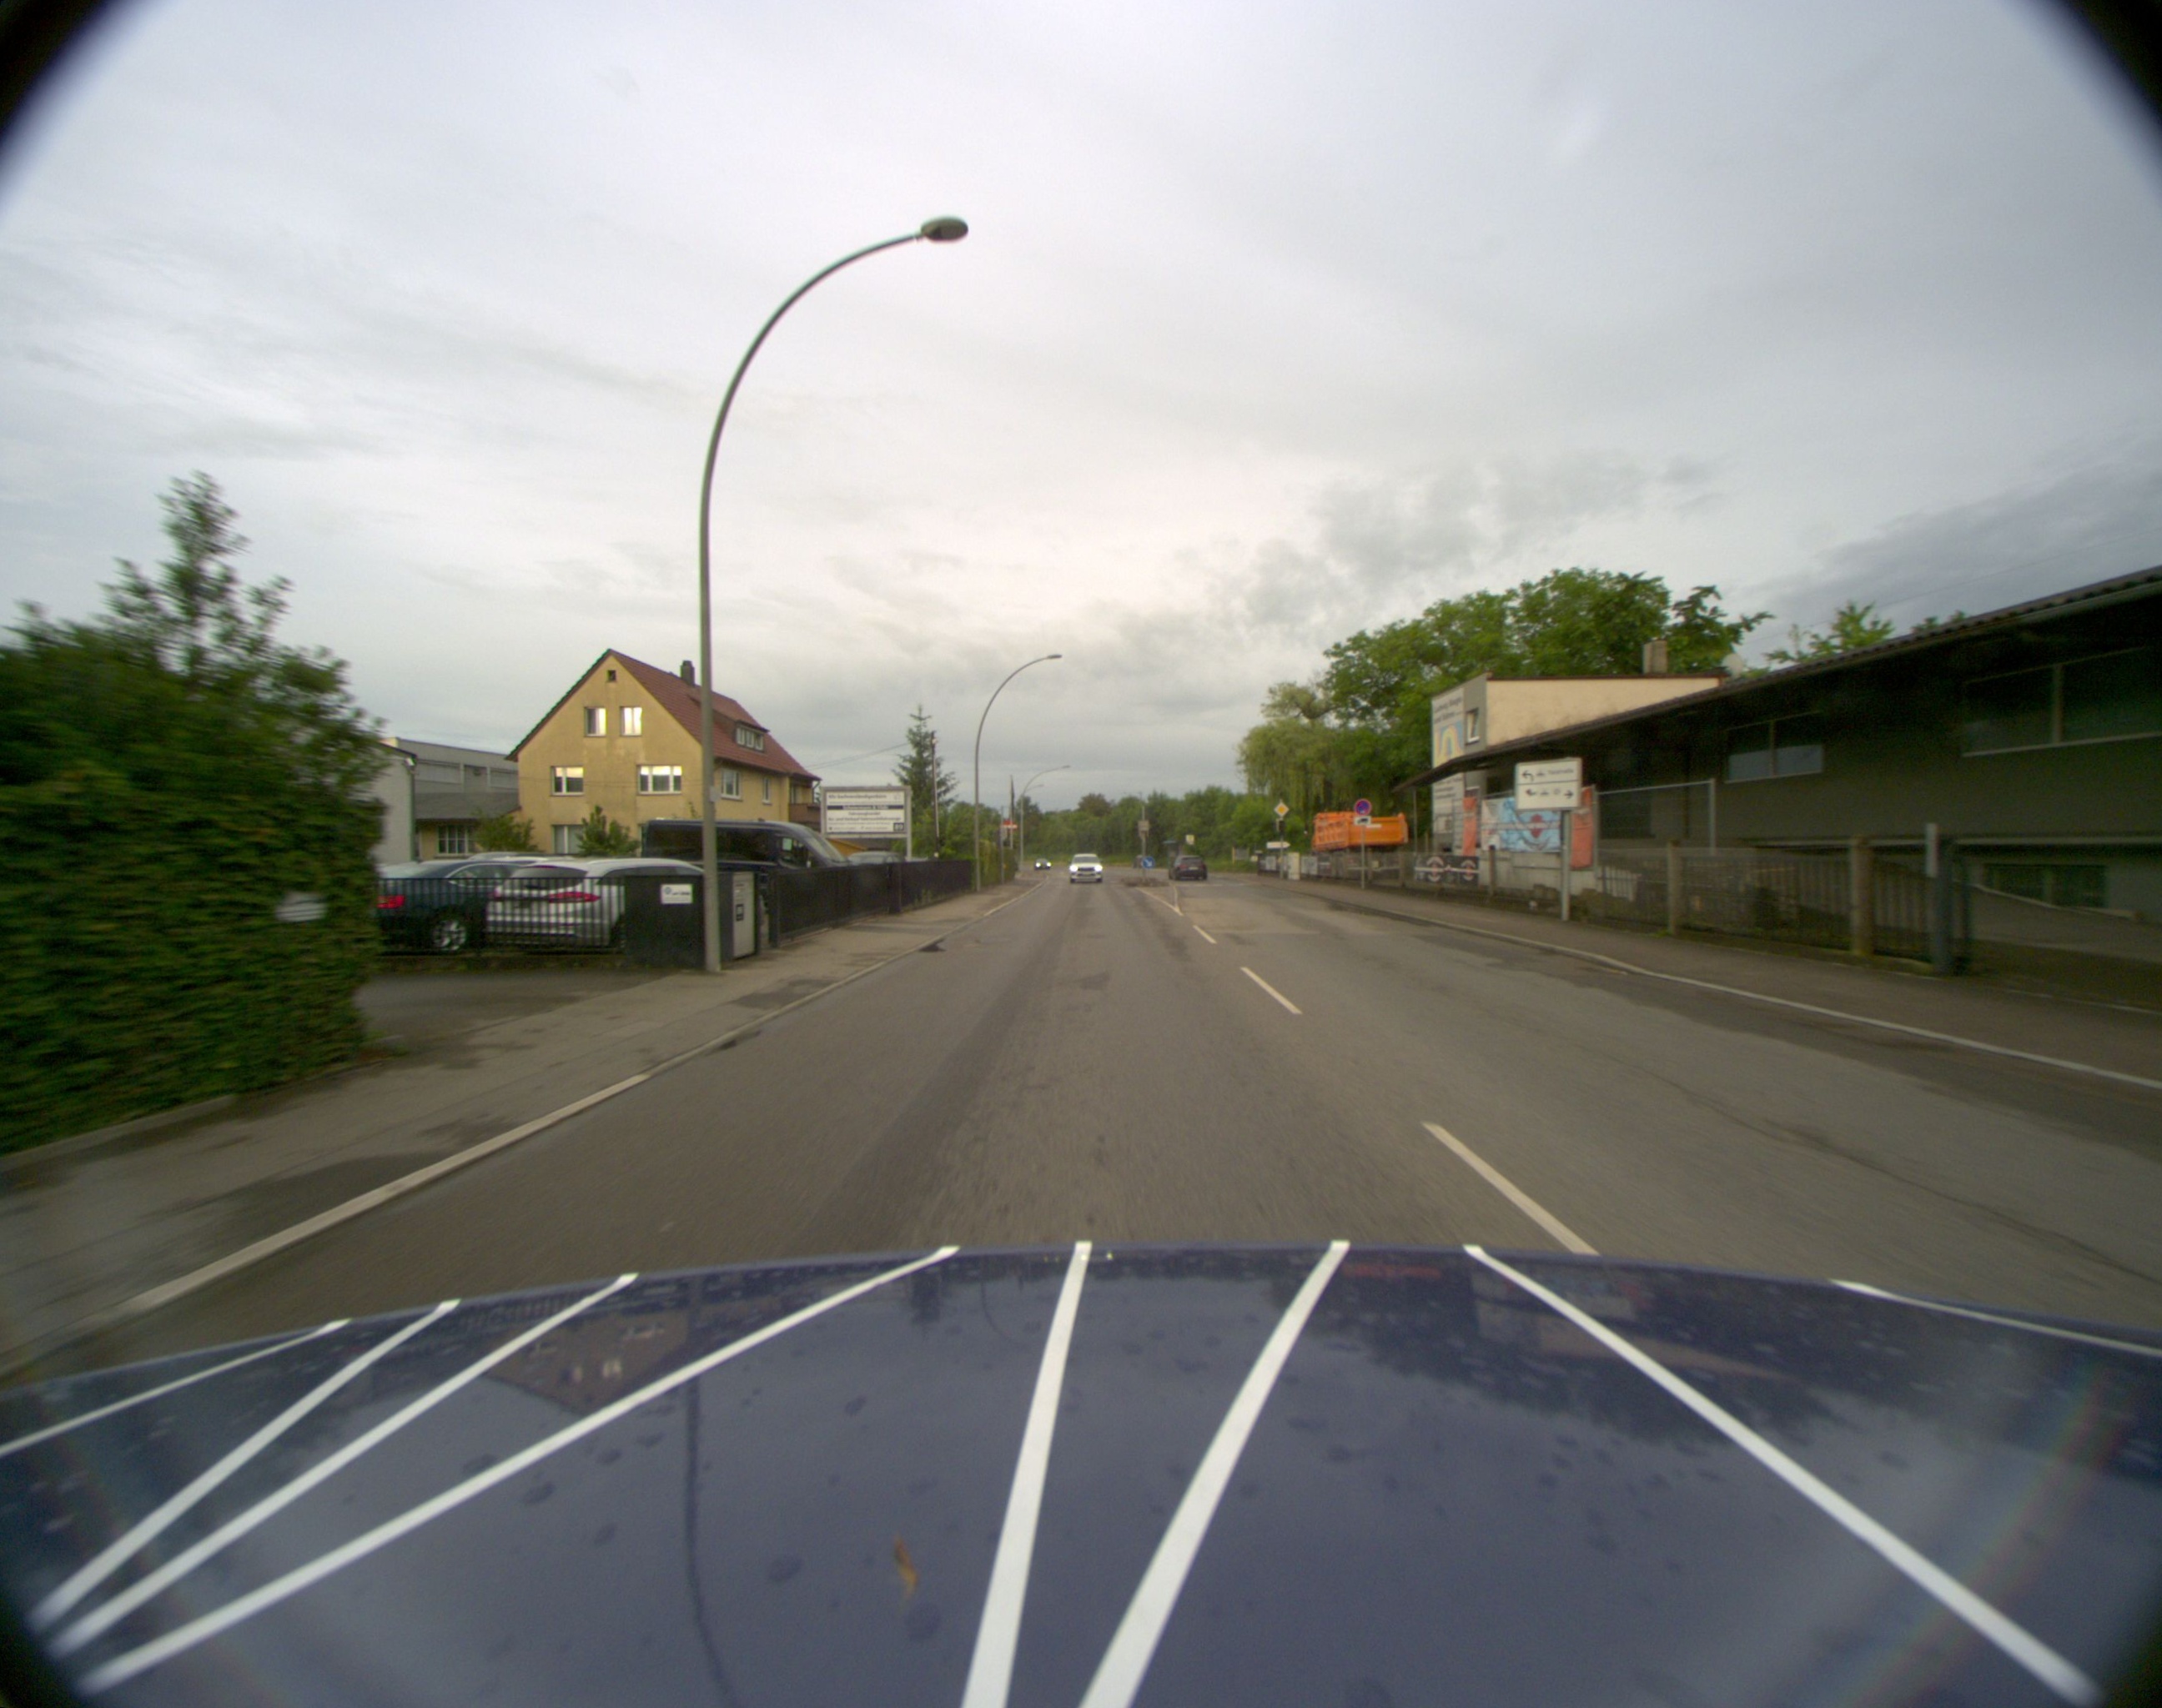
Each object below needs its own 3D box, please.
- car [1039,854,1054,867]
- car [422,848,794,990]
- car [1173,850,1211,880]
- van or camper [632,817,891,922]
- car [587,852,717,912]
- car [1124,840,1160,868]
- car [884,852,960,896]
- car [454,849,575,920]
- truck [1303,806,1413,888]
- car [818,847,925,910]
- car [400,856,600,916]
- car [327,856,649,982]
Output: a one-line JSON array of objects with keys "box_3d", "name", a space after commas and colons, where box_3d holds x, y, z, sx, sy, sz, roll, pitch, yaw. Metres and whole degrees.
[{"box_3d": [-4.523, 0.840, 98.357, 1.838, 1.609, 3.998, -1, 0, -3], "name": "car"}, {"box_3d": [-7.413, 0.887, 12.833, 2.124, 1.641, 5.238, -3, 2, 13], "name": "car"}, {"box_3d": [6.620, 0.604, 45.847, 1.746, 1.443, 4.541, -3, 2, 2], "name": "car"}, {"box_3d": [-8.373, 0.368, 20.330, 5.918, 2.472, 2.131, -2, 3, 2], "name": "van or camper"}, {"box_3d": [-13.822, 0.841, 24.790, 1.633, 1.590, 3.966, -3, 2, 5], "name": "car"}, {"box_3d": [3.573, 0.003, 43.977, 1.847, 1.565, 3.829, -1, 0, 8], "name": "car"}, {"box_3d": [-5.964, 0.707, 29.012, 1.665, 1.448, 4.245, -3, 0, 4], "name": "car"}, {"box_3d": [-18.820, 0.950, 25.424, 1.580, 2.039, 3.134, -4, 2, -2], "name": "car"}, {"box_3d": [13.297, -0.492, 37.366, 2.703, 3.393, 9.071, -3, 2, 5], "name": "truck"}, {"box_3d": [-6.466, 0.693, 24.027, 1.665, 1.558, 4.566, -3, 2, 5], "name": "car"}, {"box_3d": [-15.816, 0.840, 20.804, 4.333, 1.474, 1.709, 1, 1, 6], "name": "car"}, {"box_3d": [-10.147, 1.010, 13.494, 1.886, 1.641, 4.100, -3, 2, 13], "name": "car"}]
